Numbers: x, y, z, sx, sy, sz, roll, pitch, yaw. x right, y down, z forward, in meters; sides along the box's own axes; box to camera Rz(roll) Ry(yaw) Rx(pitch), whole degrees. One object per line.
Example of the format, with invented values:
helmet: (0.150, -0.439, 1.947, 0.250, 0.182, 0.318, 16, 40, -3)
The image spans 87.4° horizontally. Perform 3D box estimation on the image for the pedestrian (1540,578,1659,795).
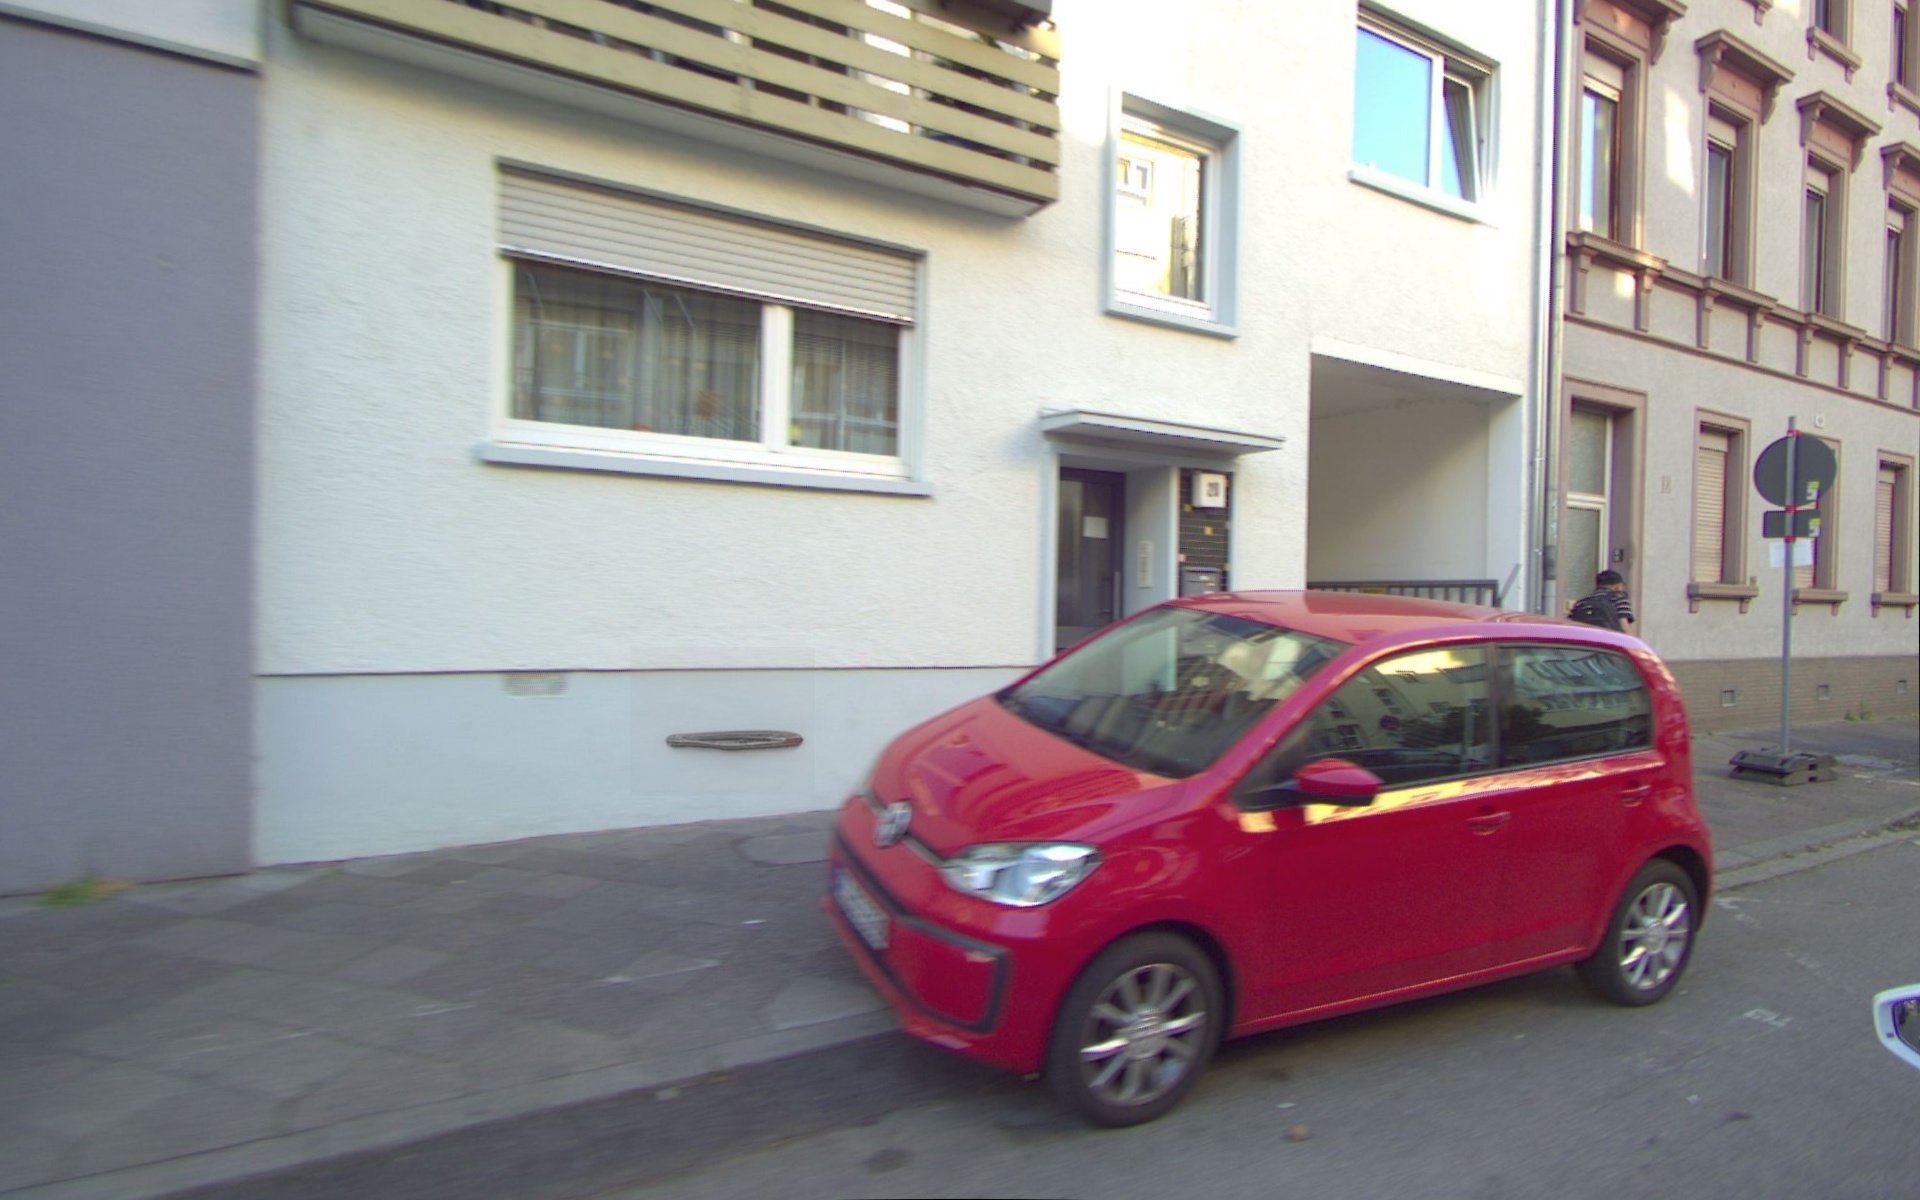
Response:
pedestrian: (5.129, 0.663, 8.063, 0.658, 1.660, 0.493, 1, 2, -30)

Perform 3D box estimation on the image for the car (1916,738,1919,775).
car: (10.232, 0.877, 8.912, 3.248, 1.468, 1.648, 1, 4, -31)

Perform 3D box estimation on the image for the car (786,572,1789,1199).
car: (1.275, 0.748, 4.015, 3.556, 1.506, 1.663, 1, 5, -25)
